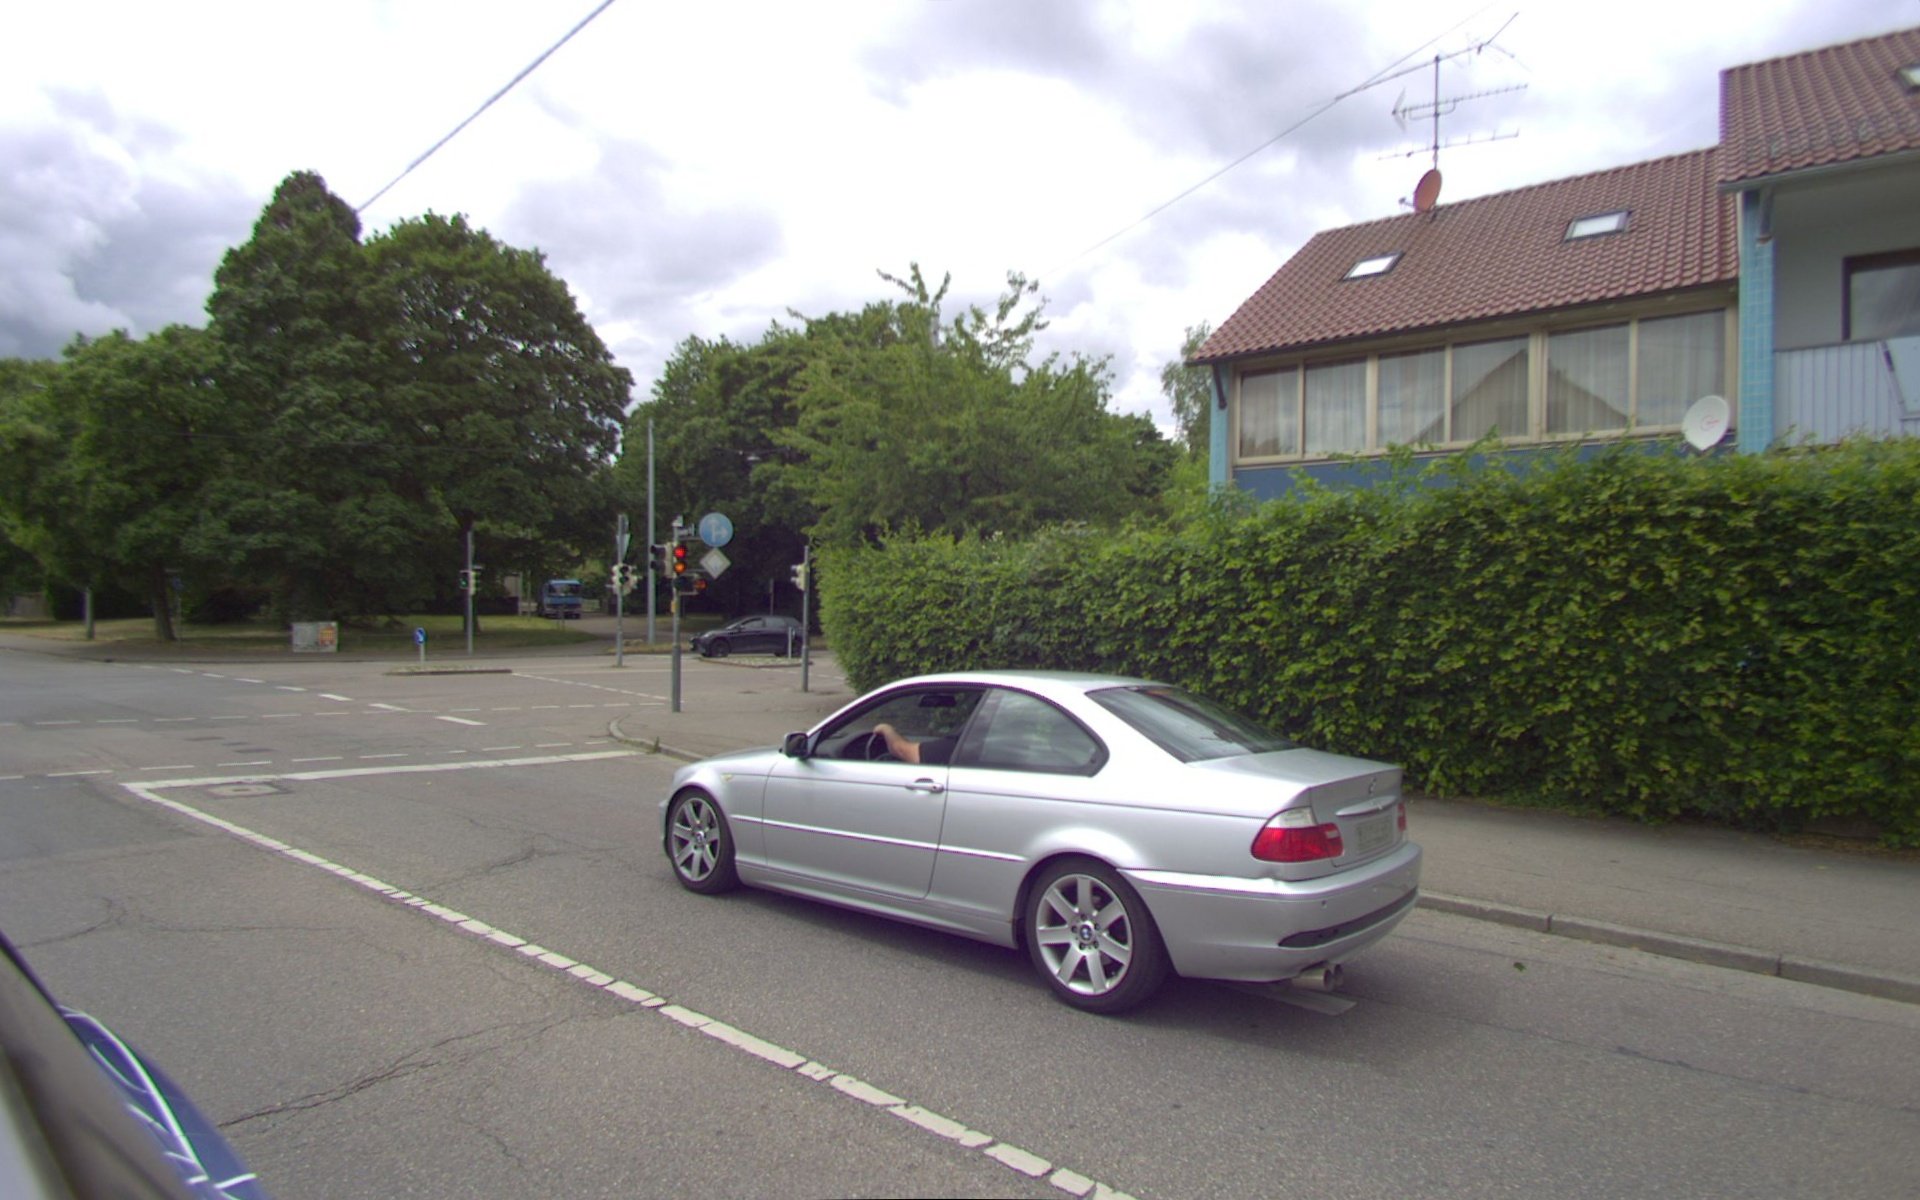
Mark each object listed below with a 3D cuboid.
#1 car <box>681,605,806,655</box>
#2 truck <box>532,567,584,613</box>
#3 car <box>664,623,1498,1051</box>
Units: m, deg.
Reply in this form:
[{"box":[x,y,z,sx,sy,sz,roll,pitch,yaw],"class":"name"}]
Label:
[{"box":[-7.661,1.013,35.824,3.931,1.630,2.006,0,0,-28],"class":"car"},{"box":[-26.873,-0.642,67.444,2.440,2.869,7.457,0,0,-28],"class":"truck"},{"box":[0.374,0.885,5.336,4.081,1.364,1.695,0,-6,41],"class":"car"}]
